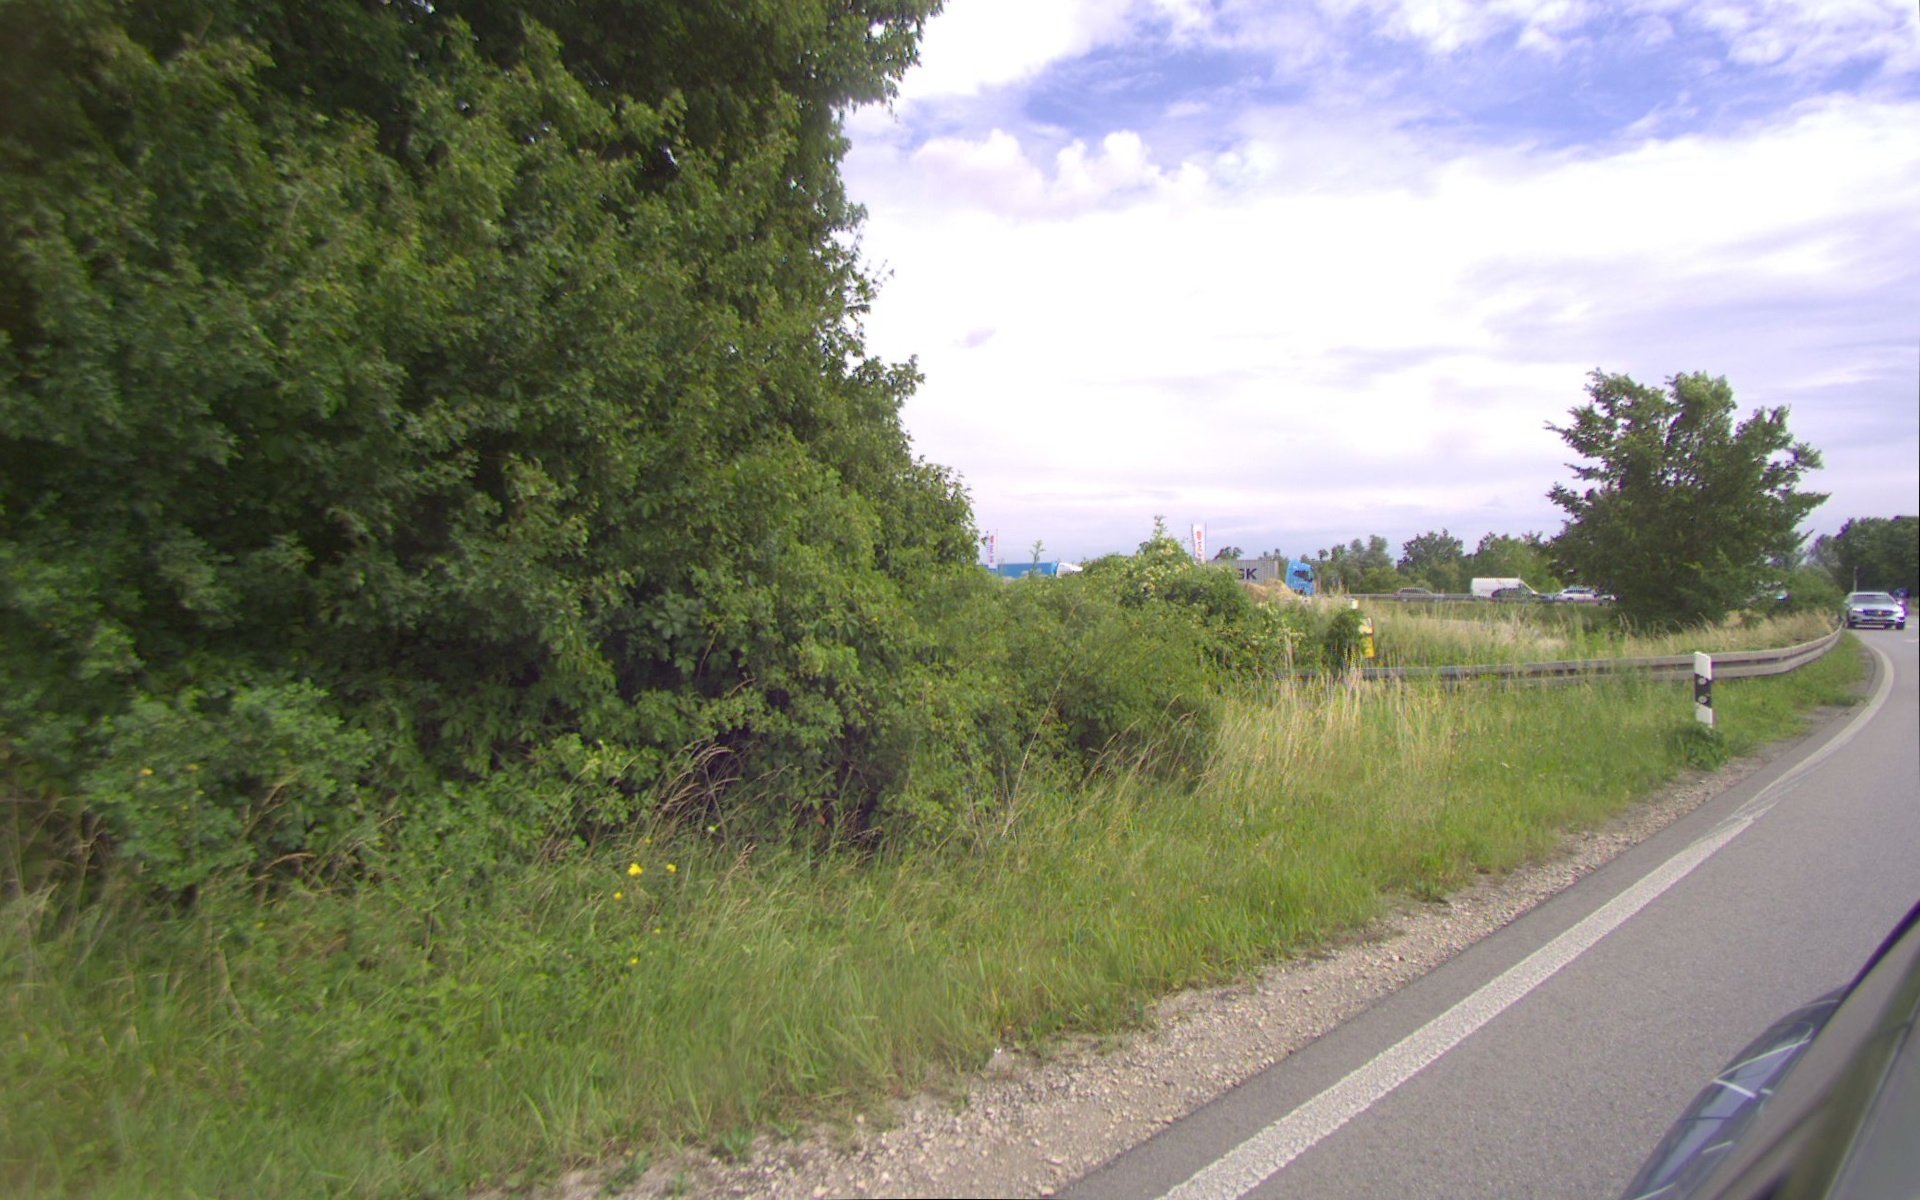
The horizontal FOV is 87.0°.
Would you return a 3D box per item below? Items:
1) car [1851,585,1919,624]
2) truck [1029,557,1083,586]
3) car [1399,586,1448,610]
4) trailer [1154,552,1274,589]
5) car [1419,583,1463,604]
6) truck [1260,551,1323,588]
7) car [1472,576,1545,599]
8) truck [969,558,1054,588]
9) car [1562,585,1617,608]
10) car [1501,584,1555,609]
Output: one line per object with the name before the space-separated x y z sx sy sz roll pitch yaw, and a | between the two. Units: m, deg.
car | 41.113 0.179 44.883 2.010 1.633 4.224 0 0 36
truck | 10.566 -3.098 112.077 2.350 3.093 5.975 0 0 -41
car | 41.877 -0.221 91.470 3.962 2.039 1.913 2 0 27
trailer | 24.775 -2.827 99.028 11.121 3.352 2.369 0 -1 27
car | 47.946 -0.678 100.890 3.961 2.039 1.913 0 0 27
truck | 31.402 -2.817 95.803 5.534 3.347 2.373 0 -1 24
car | 51.206 -1.179 94.630 5.840 2.039 2.042 1 0 27
truck | 5.852 -3.064 117.499 2.350 3.093 11.738 0 0 -41
car | 55.621 -0.331 89.464 3.965 2.039 1.979 1 0 30
car | 48.904 -0.305 87.241 3.962 2.039 1.913 2 0 27
